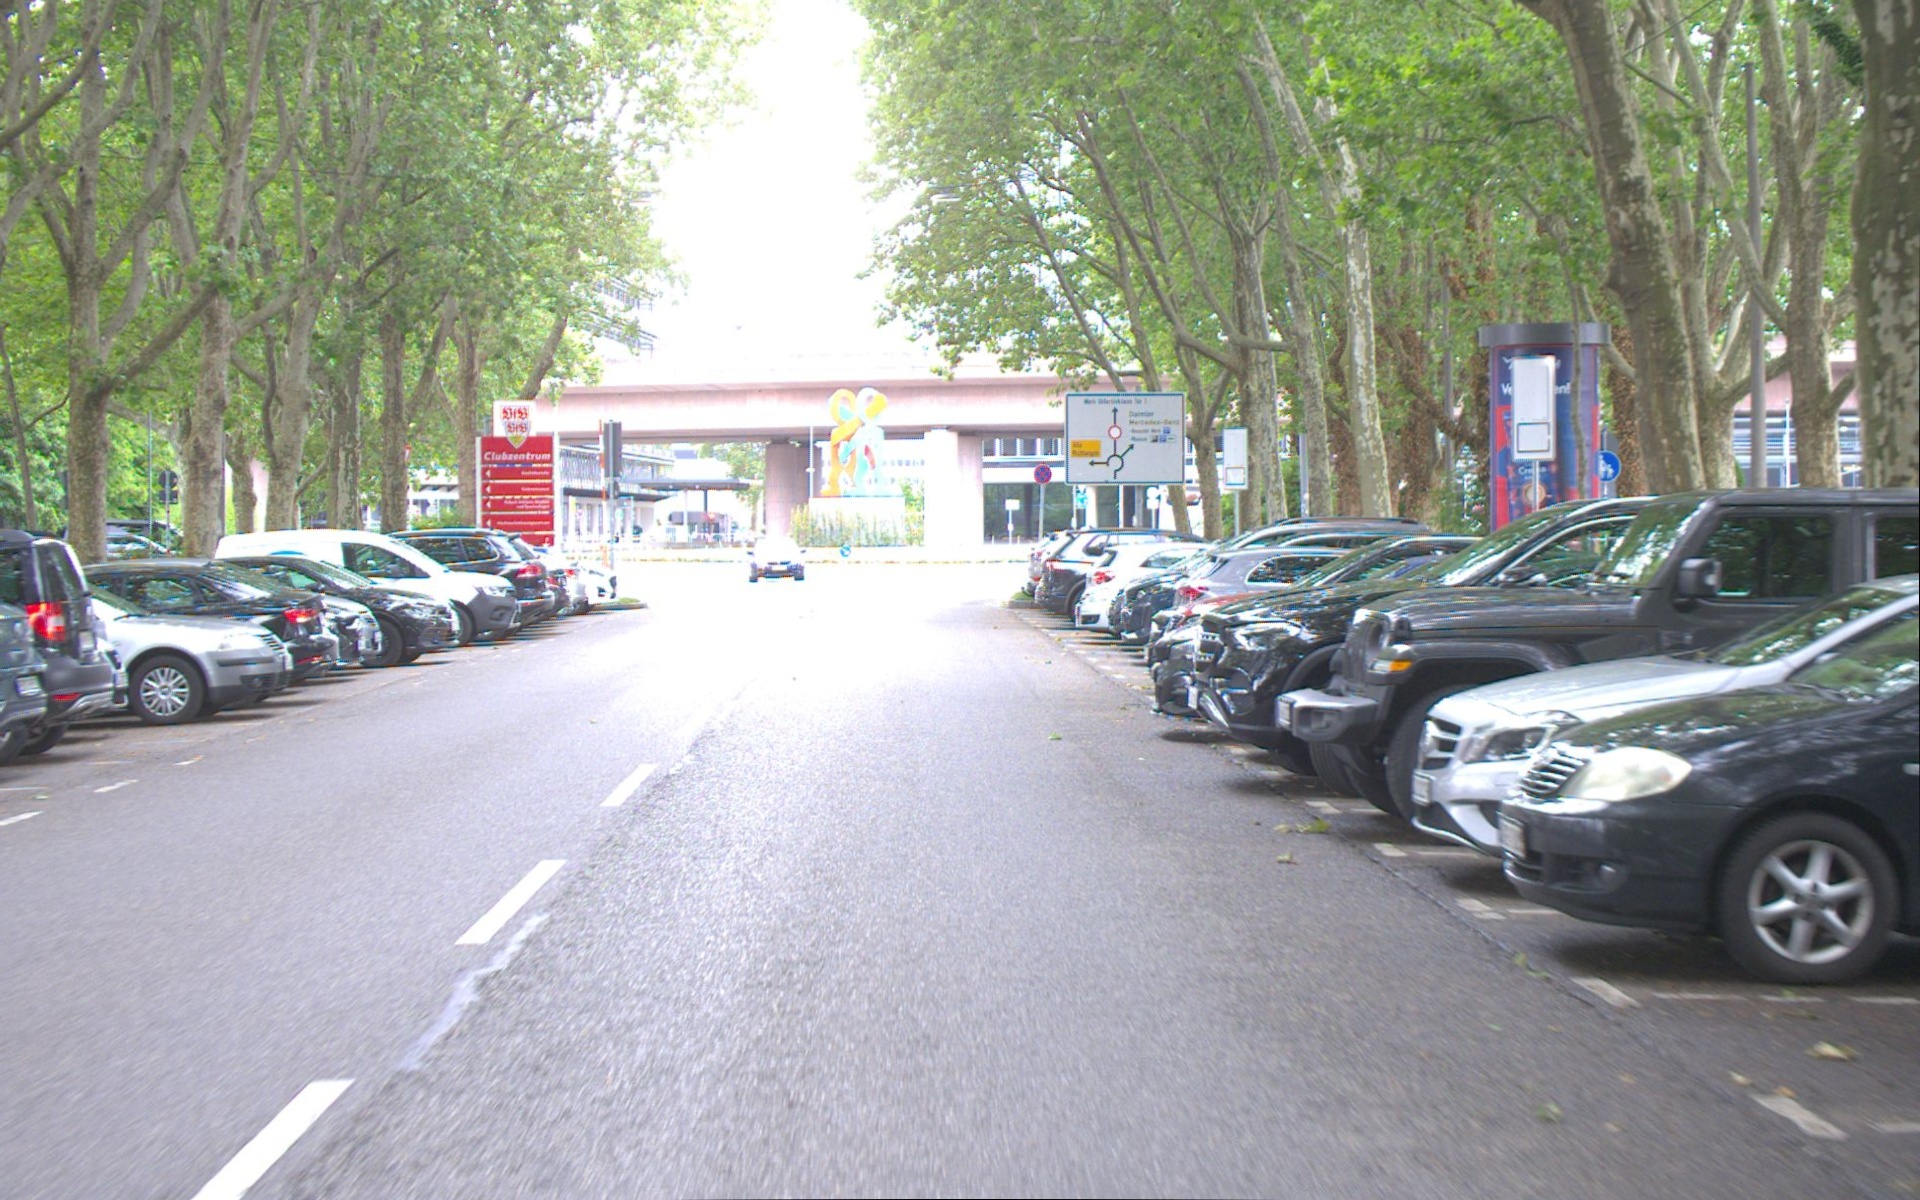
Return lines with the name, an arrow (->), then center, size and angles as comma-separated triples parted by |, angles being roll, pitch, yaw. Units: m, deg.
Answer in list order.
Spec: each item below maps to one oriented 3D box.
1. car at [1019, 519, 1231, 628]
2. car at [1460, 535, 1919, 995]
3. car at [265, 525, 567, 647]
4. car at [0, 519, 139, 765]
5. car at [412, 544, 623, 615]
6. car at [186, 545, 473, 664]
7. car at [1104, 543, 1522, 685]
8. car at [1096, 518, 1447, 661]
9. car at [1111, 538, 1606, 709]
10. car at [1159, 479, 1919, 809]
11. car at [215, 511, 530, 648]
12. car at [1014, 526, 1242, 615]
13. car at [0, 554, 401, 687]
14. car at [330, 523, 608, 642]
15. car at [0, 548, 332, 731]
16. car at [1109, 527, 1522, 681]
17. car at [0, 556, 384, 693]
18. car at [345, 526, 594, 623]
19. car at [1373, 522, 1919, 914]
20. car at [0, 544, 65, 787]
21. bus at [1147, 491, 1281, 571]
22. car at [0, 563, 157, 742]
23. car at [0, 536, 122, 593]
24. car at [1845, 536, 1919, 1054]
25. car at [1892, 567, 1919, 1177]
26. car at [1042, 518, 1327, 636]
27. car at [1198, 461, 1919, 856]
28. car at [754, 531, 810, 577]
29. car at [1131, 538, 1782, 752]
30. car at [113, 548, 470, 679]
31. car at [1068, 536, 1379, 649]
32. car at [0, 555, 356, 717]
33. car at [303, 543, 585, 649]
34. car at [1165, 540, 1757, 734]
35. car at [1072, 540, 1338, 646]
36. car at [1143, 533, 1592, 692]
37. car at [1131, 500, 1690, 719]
car -> 3.198, -0.535, 67.326 | 3.987, 2.007, 2.000 | 1, 1, 0
car -> 4.085, 0.596, 12.508 | 4.195, 1.513, 1.785 | 2, 1, -1
car -> -8.297, -0.222, 52.739 | 4.317, 1.789, 2.037 | 1, 0, -1
car -> -8.111, 0.325, 24.808 | 3.930, 1.702, 1.752 | -2, 1, -2
car -> -9.026, -0.422, 70.372 | 3.994, 1.380, 1.911 | 1, 0, 3
car -> -8.712, 0.045, 47.523 | 3.781, 1.467, 1.765 | -2, 1, -11
car -> 3.815, 0.132, 37.746 | 4.346, 1.408, 1.926 | 1, 1, 0
car -> 4.053, -0.154, 45.162 | 4.346, 1.739, 1.837 | 1, 1, -2
car -> 3.761, 0.206, 32.867 | 4.345, 1.497, 1.926 | 1, 1, -6
car -> 3.538, 0.228, 20.594 | 4.495, 1.790, 2.048 | 1, 1, -1
car -> -8.530, -0.316, 50.219 | 4.317, 1.804, 1.868 | -2, 1, -4
car -> 3.280, -0.592, 67.658 | 4.346, 1.628, 1.926 | 1, 1, 0
car -> -8.917, 0.225, 40.125 | 4.463, 1.365, 1.880 | -2, 1, -1
car -> -8.135, -0.312, 57.197 | 4.317, 1.804, 1.868 | -2, 1, -1
car -> -7.926, 0.357, 30.283 | 4.463, 1.477, 1.703 | -2, 1, -2
car -> 4.064, 0.020, 39.891 | 4.591, 1.633, 1.872 | 1, 1, 1
car -> -8.776, 0.265, 37.933 | 4.463, 1.343, 1.901 | -2, 1, 1
car -> -8.902, -0.469, 62.700 | 4.263, 1.543, 1.908 | -3, 1, -3
car -> 4.182, 0.492, 15.178 | 4.495, 1.566, 2.047 | 1, 1, 2
car -> -8.019, 0.457, 22.343 | 3.930, 1.511, 1.728 | -2, 1, -2
bus -> 11.202, -3.033, 150.551 | 2.336, 3.387, 10.005 | 0, 1, 26
car -> -8.678, 0.449, 27.801 | 3.930, 1.360, 1.827 | -2, 1, -2
car -> -25.311, -0.977, 94.711 | 3.987, 1.517, 2.002 | 1, 0, 0
car -> 4.941, 0.623, 10.000 | 4.195, 1.513, 1.785 | 1, 1, -4
car -> 4.445, 0.712, 7.630 | 4.195, 1.451, 1.785 | 1, 1, -4
car -> 3.574, -0.377, 55.253 | 4.346, 1.755, 1.926 | 1, 1, -2
car -> 3.621, 0.275, 17.724 | 4.494, 1.860, 2.048 | 1, 1, -4
car -> -5.993, -1.535, 116.029 | 1.842, 1.504, 4.015 | 1, 1, -2
car -> 3.574, 0.303, 25.390 | 4.495, 1.423, 1.932 | 1, 1, 0
car -> -8.217, 0.154, 42.487 | 3.979, 1.416, 1.755 | -2, 1, 3
car -> 3.611, -0.117, 47.617 | 4.148, 1.453, 1.727 | 1, 1, 0
car -> -7.868, 0.333, 32.734 | 3.930, 1.393, 1.703 | -2, 1, -2
car -> -8.245, -0.077, 55.184 | 4.129, 1.447, 2.013 | -3, 1, 1
car -> 3.964, 0.271, 27.759 | 4.495, 1.415, 1.829 | 1, 1, 1
car -> 3.537, -0.111, 50.072 | 3.639, 1.422, 1.666 | 1, 1, -4
car -> 4.139, 0.108, 35.458 | 4.346, 1.497, 1.926 | 1, 1, -1
car -> 3.930, 0.063, 30.438 | 4.494, 1.790, 2.048 | 1, 1, -7
